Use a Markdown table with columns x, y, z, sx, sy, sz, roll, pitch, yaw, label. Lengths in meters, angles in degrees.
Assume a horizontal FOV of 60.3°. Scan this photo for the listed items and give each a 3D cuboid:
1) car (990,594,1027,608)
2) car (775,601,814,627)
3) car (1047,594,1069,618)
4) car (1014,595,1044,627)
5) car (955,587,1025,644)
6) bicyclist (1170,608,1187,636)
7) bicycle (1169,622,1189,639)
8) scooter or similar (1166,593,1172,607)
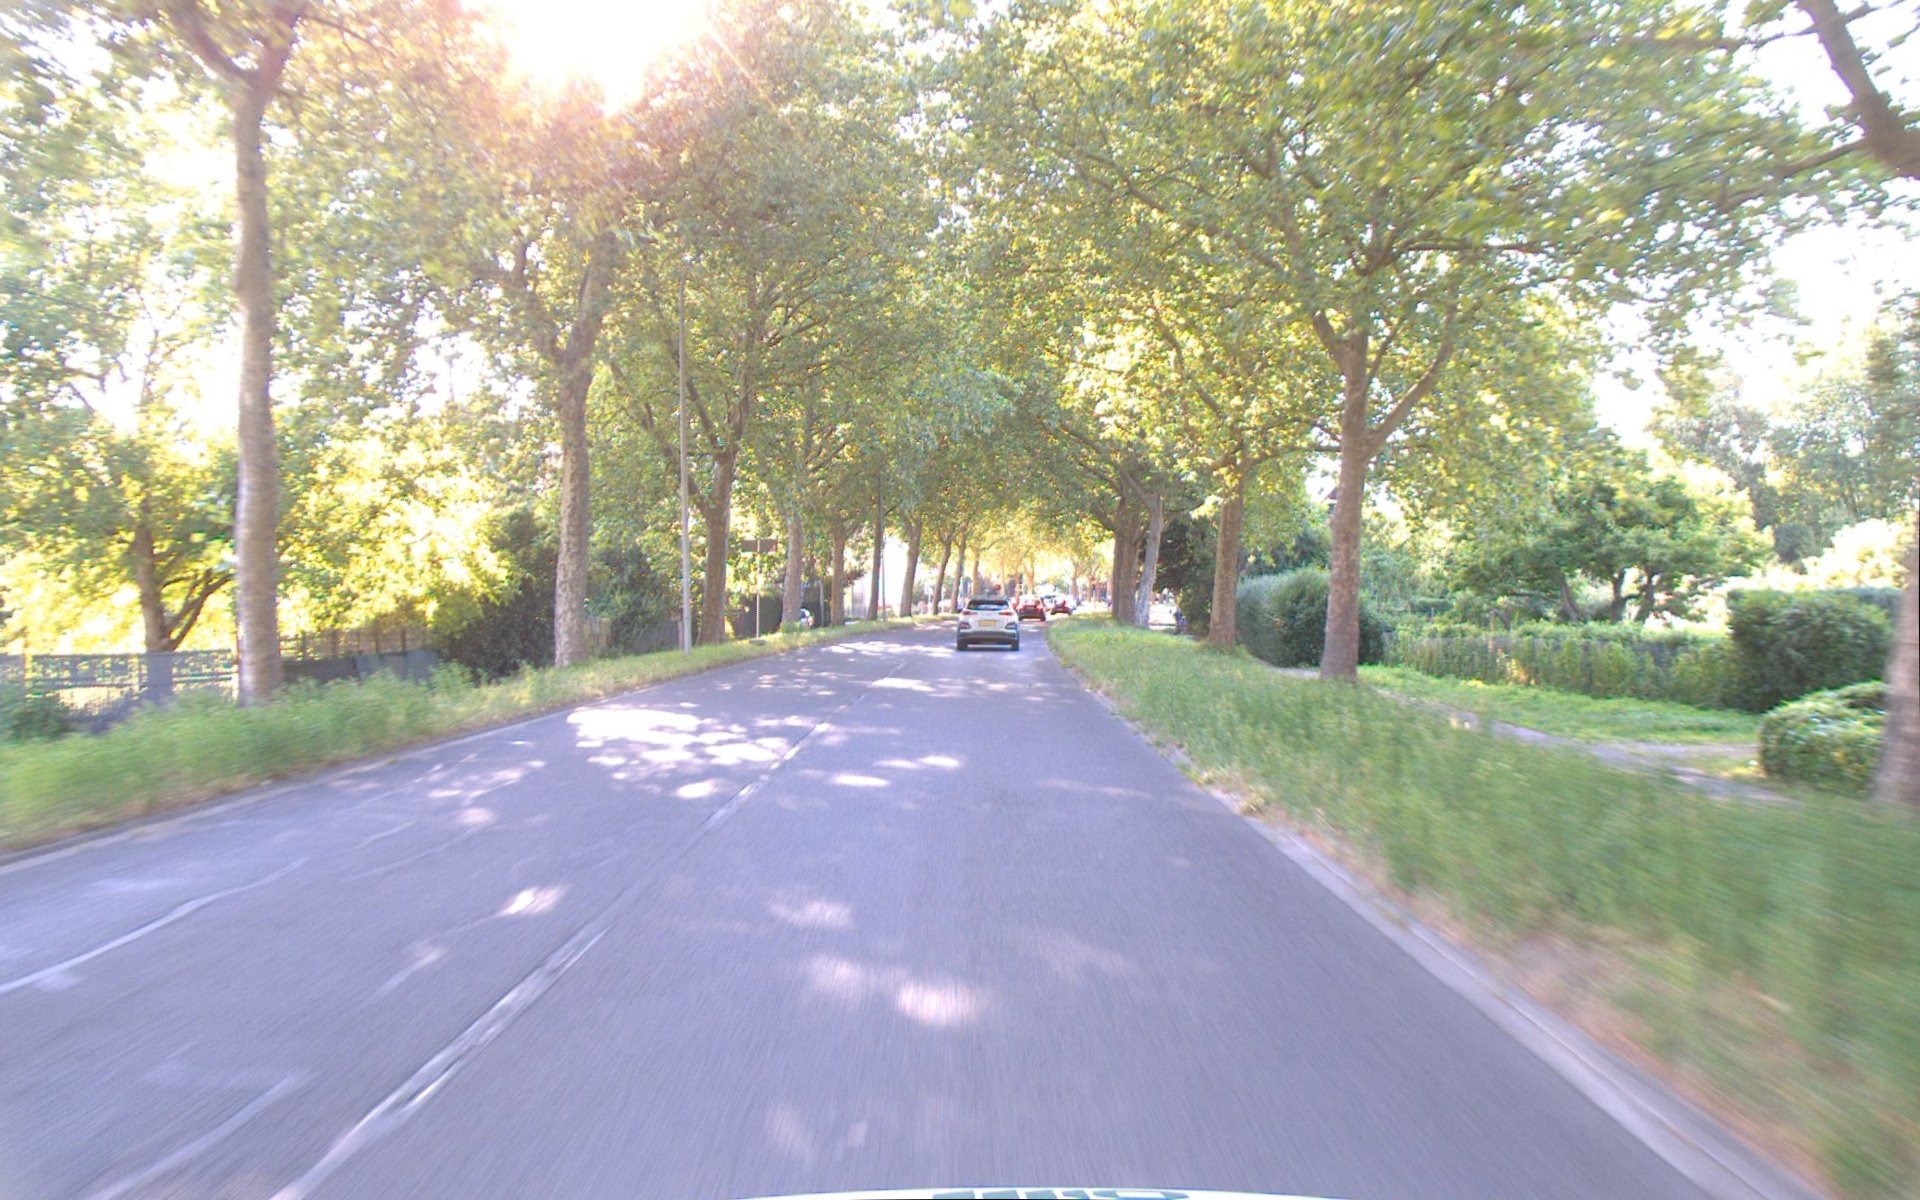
| x | y | z | sx | sy | sz | roll | pitch | yaw | label |
| --- | --- | --- | --- | --- | --- | --- | --- | --- | --- |
| 5.336 | 0.094 | 181.671 | 3.902 | 1.504 | 2.001 | 0 | -1 | 7 | car |
| -9.535 | 0.793 | 95.554 | 1.716 | 1.327 | 4.001 | -1 | 1 | 1 | car |
| 8.618 | 0.534 | 145.769 | 1.952 | 2.049 | 4.001 | 0 | -1 | 3 | car |
| 4.554 | 0.726 | 109.416 | 1.952 | 2.049 | 4.001 | 0 | -1 | 2 | car |
| 0.894 | 0.443 | 48.551 | 1.952 | 1.602 | 4.000 | 1 | 0 | 1 | car |
| 11.132 | 1.120 | 84.339 | 0.720 | 1.390 | 0.770 | 1 | -1 | -6 | bicyclist |
| 11.136 | 1.565 | 84.107 | 0.542 | 0.831 | 1.886 | 1 | -1 | -7 | bicycle |
| 19.500 | -0.015 | 154.437 | 0.537 | 1.280 | 2.315 | 0 | -1 | 8 | scooter or similar |
